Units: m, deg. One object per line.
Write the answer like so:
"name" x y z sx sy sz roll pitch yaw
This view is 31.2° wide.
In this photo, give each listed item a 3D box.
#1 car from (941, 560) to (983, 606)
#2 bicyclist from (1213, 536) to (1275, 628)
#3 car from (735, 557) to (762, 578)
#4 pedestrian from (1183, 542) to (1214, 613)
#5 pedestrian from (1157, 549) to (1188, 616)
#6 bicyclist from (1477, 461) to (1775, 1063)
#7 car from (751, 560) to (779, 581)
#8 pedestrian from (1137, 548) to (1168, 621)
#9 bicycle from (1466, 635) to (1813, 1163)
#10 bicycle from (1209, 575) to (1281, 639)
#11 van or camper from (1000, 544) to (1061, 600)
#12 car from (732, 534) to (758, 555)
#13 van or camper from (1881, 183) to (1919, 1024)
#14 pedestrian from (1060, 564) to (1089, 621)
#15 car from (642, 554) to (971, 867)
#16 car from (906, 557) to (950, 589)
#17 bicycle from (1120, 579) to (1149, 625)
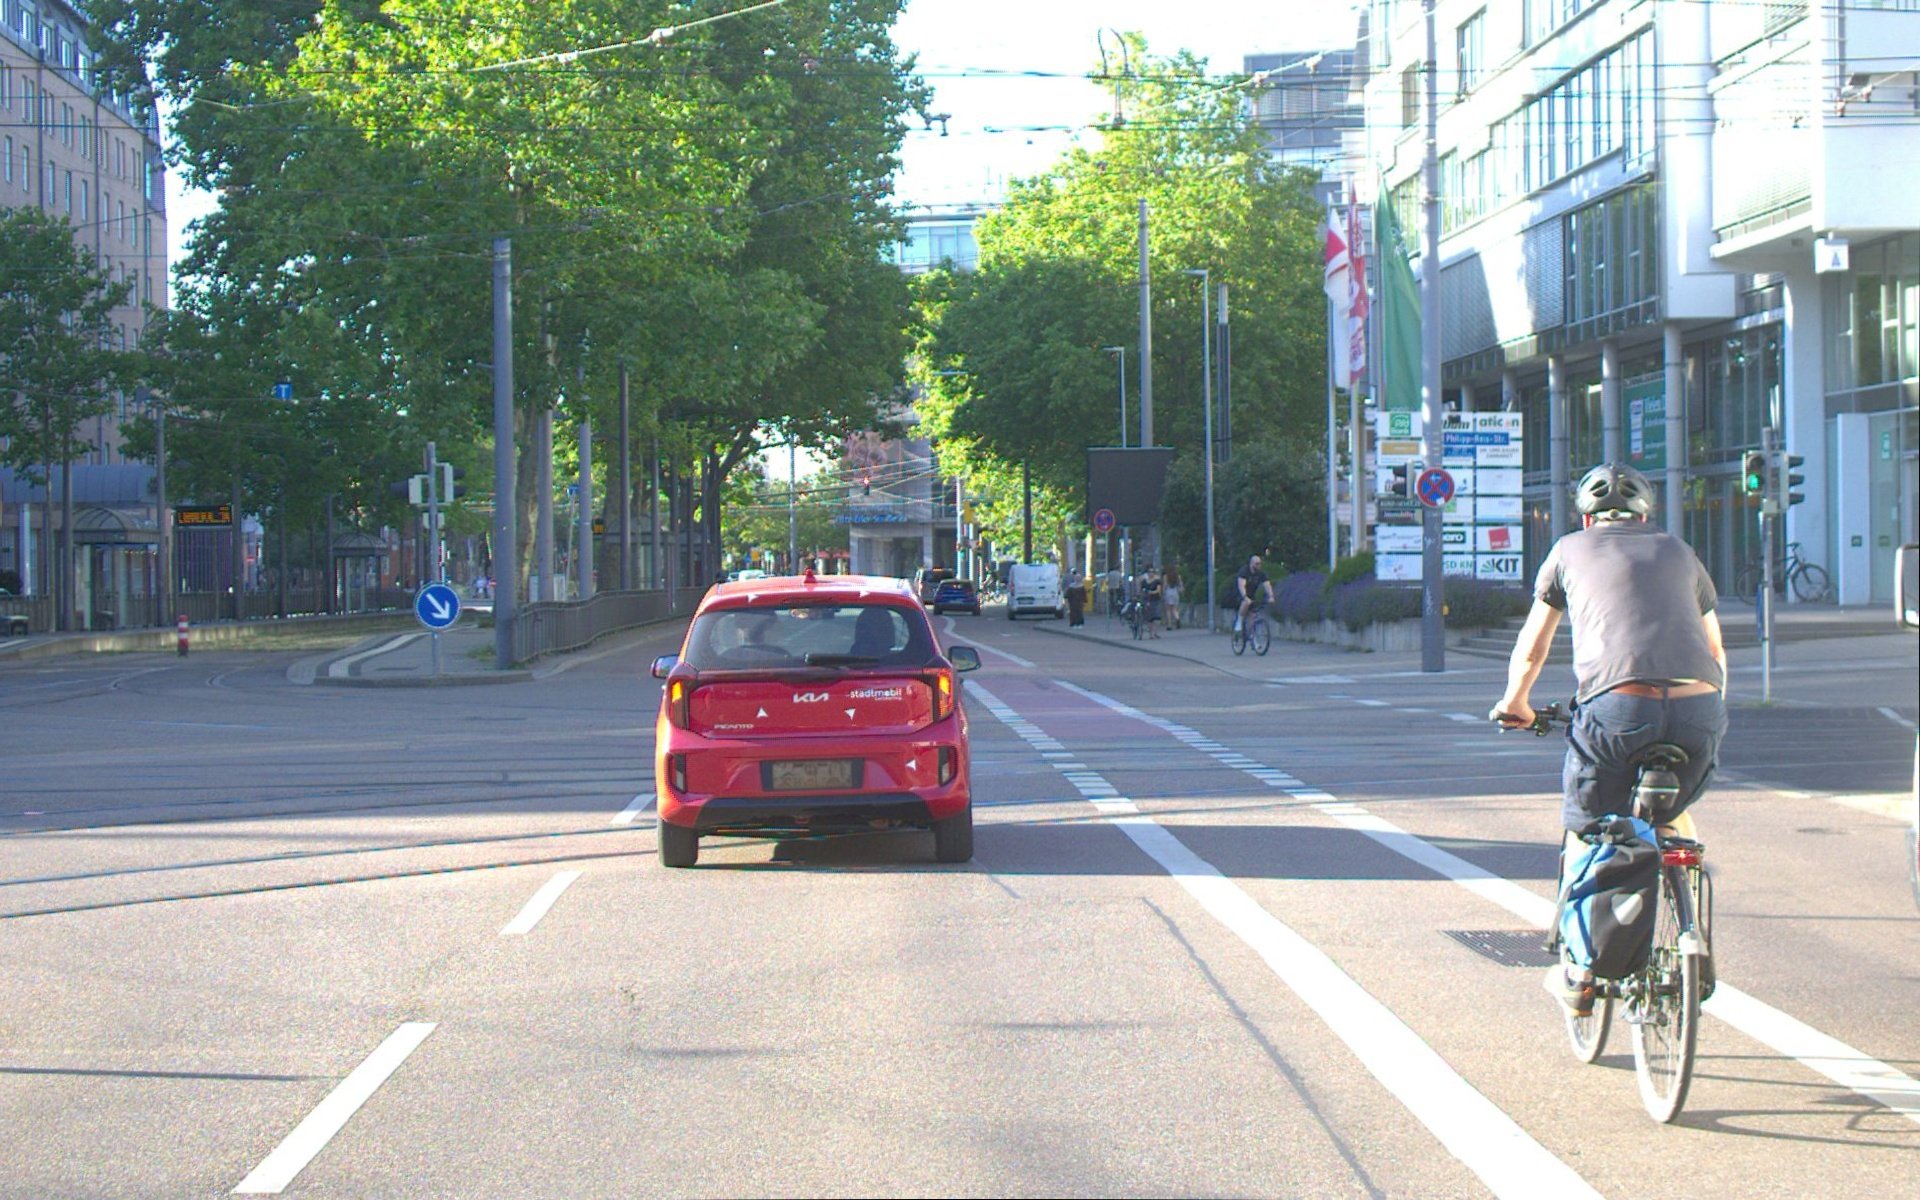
"car" 0.081 -0.710 139.562 1.635 1.794 3.330 -1 1 0
"bicyclist" 5.102 -0.319 61.823 0.721 1.597 1.089 -3 1 -13
"car" -15.689 -2.438 255.170 1.777 1.529 3.412 0 1 -7
"pedestrian" 6.175 -0.585 89.080 0.540 1.790 0.907 -4 1 -4
"pedestrian" 5.503 -0.453 88.945 0.564 1.696 0.907 -4 1 -4
"bicyclist" 1.857 0.425 9.709 0.650 1.597 1.089 -1 1 2
"car" -14.123 -2.133 248.625 1.777 1.529 3.412 0 1 -7
"pedestrian" 4.459 -0.366 79.646 0.646 1.674 0.651 -1 1 1
"bicycle" 1.863 0.768 9.682 0.650 1.276 1.966 -1 1 2
"bicycle" 5.123 0.121 61.818 0.696 1.094 1.751 -5 1 -14
"van or camper" 2.510 -1.005 124.015 1.993 1.982 4.745 0 0 -1
"car" -16.354 -4.184 261.146 1.777 1.583 3.412 0 1 -7
"van or camper" 4.101 0.054 8.344 1.969 2.707 6.305 0 1 -1
"pedestrian" 3.257 -0.214 97.672 0.642 1.574 0.723 -4 1 -4
"car" -0.814 0.517 18.574 1.613 1.529 3.412 0 1 -2
"car" -1.586 -1.308 167.288 1.777 1.529 3.513 0 1 -7
"bicycle" 4.044 0.036 79.627 0.520 0.971 2.201 -4 1 1
